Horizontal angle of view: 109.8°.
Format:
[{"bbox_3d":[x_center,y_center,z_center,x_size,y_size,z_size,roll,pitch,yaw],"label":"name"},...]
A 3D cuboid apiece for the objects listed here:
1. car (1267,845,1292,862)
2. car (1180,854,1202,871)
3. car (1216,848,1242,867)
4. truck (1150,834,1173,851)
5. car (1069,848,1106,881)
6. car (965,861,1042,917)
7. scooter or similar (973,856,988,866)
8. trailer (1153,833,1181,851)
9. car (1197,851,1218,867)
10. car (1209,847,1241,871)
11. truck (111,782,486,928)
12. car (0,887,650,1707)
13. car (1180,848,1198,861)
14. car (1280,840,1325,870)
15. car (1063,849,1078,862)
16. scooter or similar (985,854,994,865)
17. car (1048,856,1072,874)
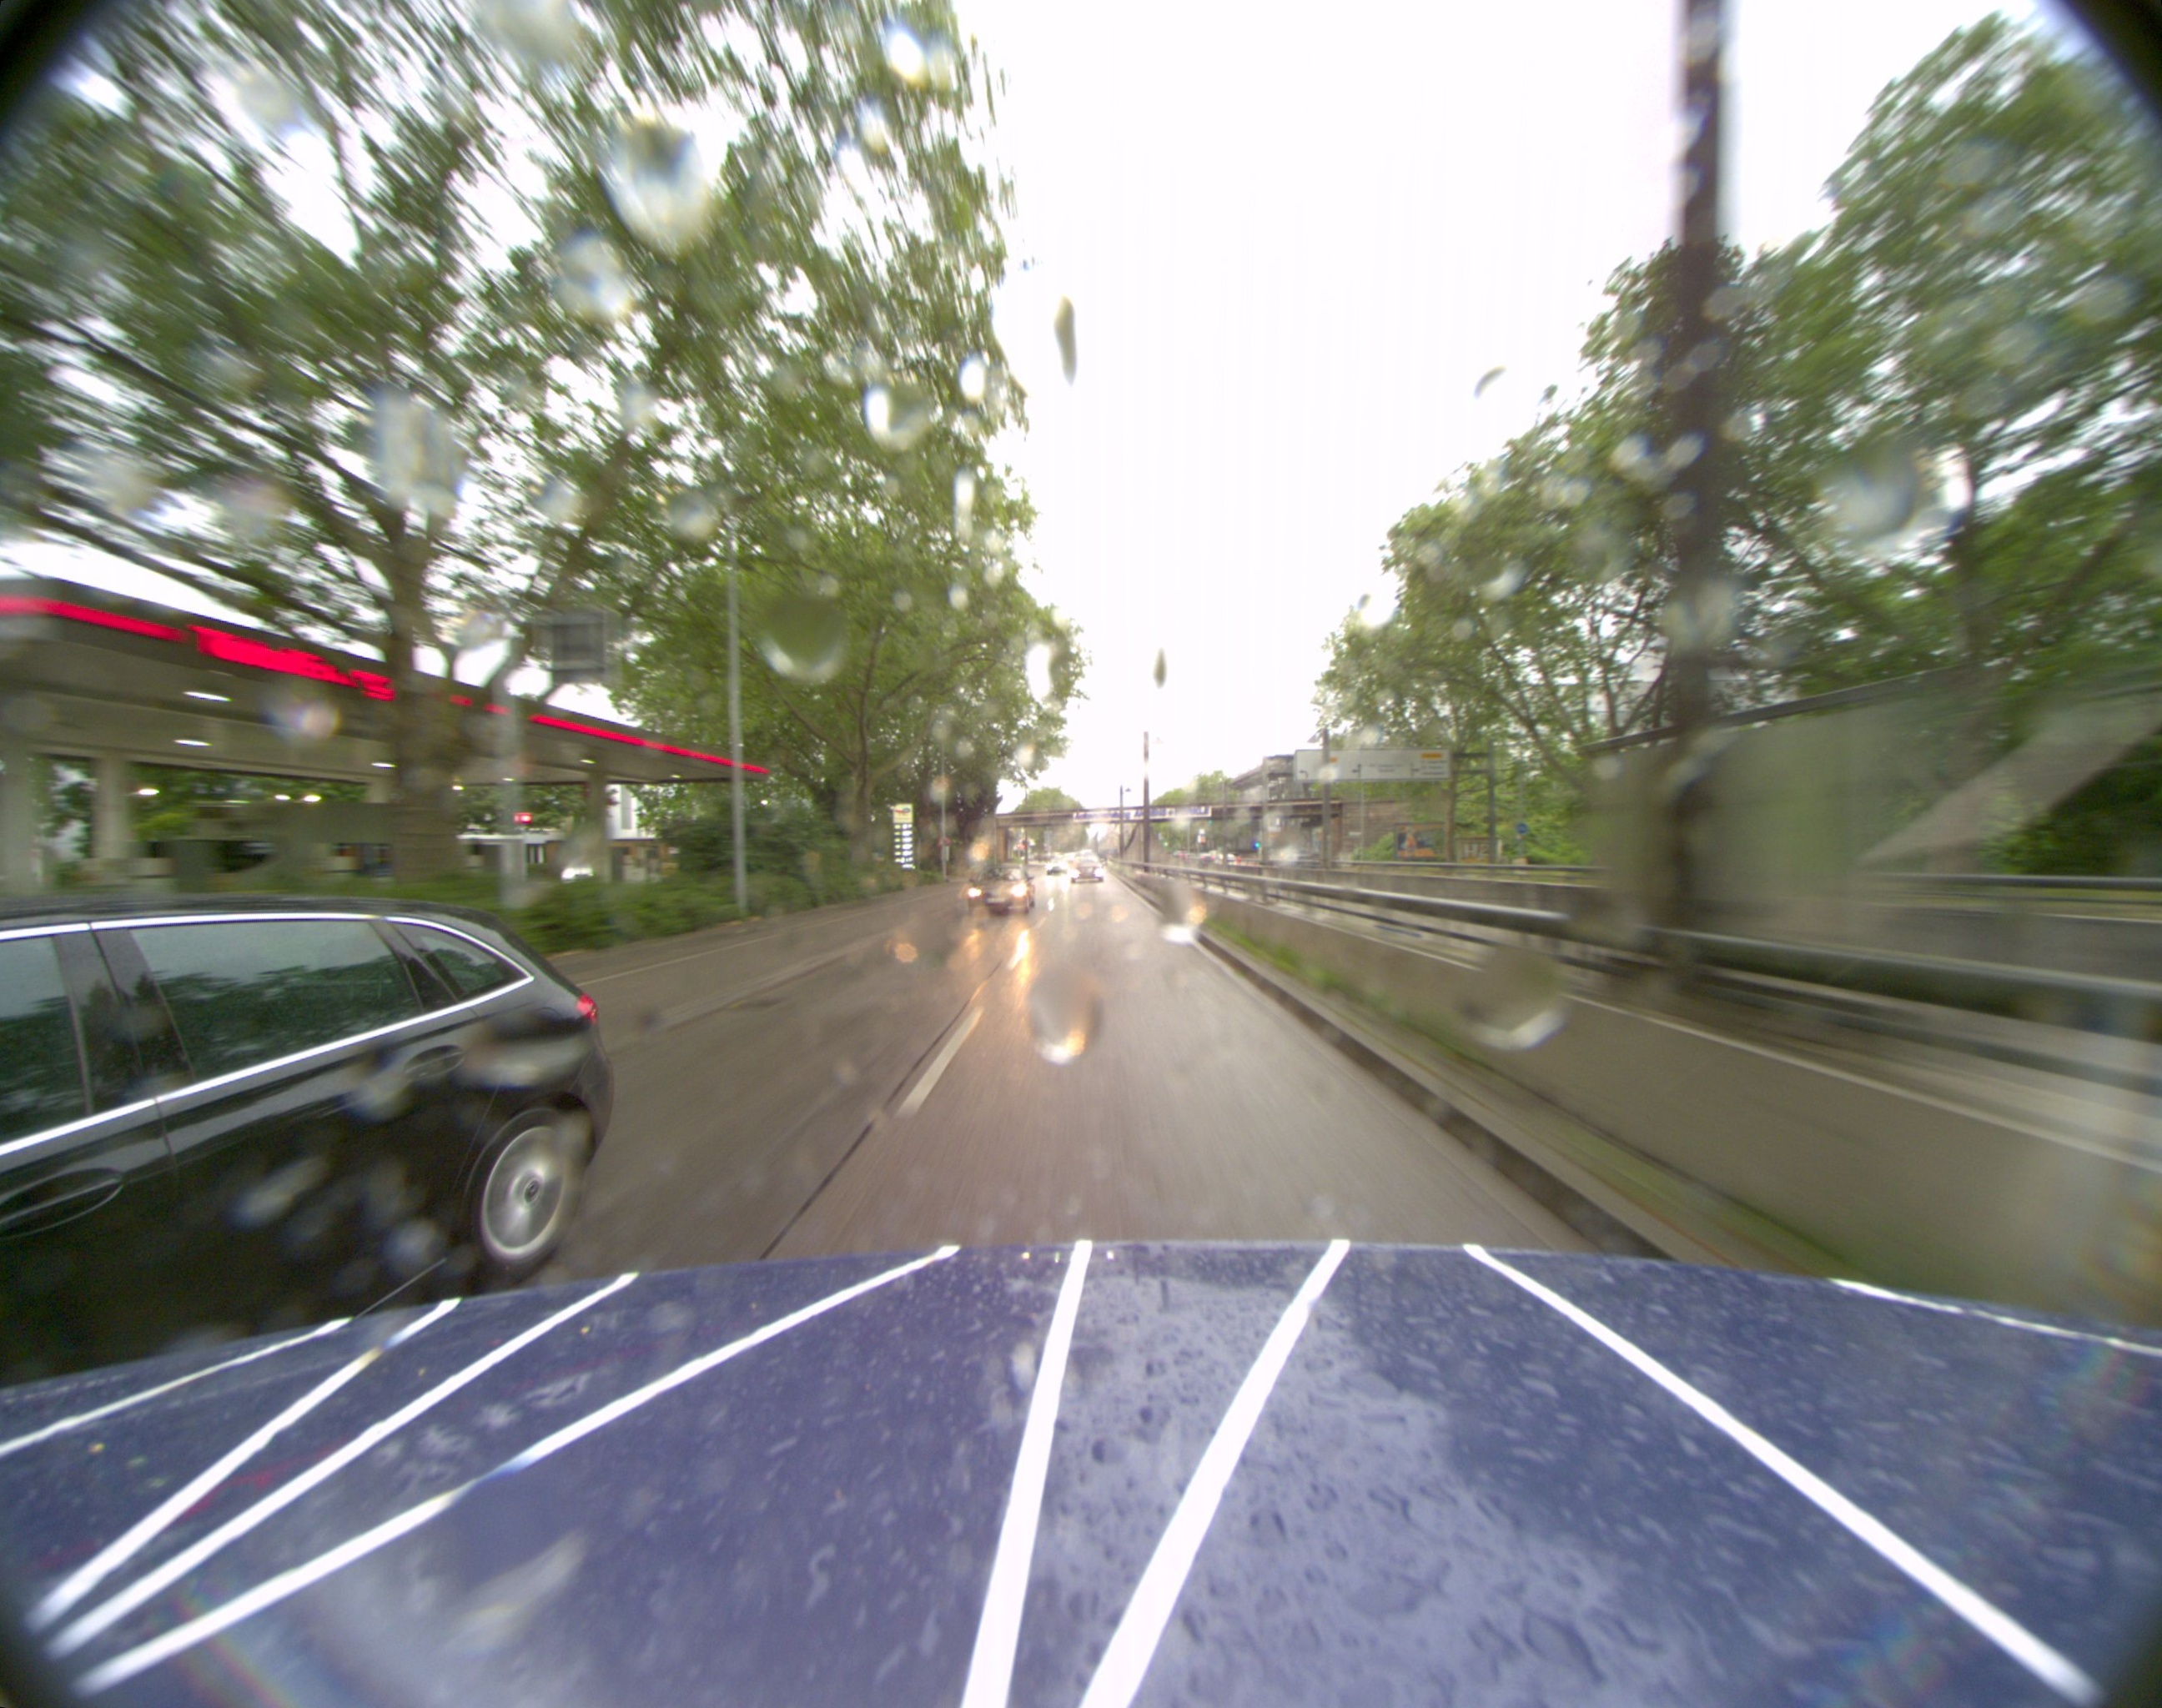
[{"bbox_3d":[24.031,-0.064,92.105,1.998,2.002,4.196,-3,1,0],"label":"car"},{"bbox_3d":[13.496,1.023,93.388,1.998,2.002,4.000,-3,1,0],"label":"car"},{"bbox_3d":[16.322,0.336,84.074,1.998,2.002,4.000,-3,1,0],"label":"car"},{"bbox_3d":[16.153,-2.236,153.700,3.384,3.290,6.521,-3,1,-4],"label":"truck"},{"bbox_3d":[0.442,0.615,45.507,1.974,1.794,4.159,-2,0,3],"label":"car"},{"bbox_3d":[-2.213,0.963,22.550,1.641,1.377,3.782,-2,1,3],"label":"car"},{"bbox_3d":[-10.929,0.734,82.391,0.452,1.004,1.742,-2,1,38],"label":"scooter or similar"},{"bbox_3d":[16.605,-2.209,147.403,3.331,3.241,11.117,-3,1,-4],"label":"trailer"},{"bbox_3d":[16.961,0.623,101.756,1.998,2.002,4.510,-3,1,0],"label":"car"},{"bbox_3d":[13.167,0.438,69.617,1.998,2.002,4.615,-3,1,0],"label":"car"},{"bbox_3d":[-21.638,-0.004,21.951,2.701,3.332,7.768,-3,1,-1],"label":"truck"},{"bbox_3d":[-2.973,1.000,1.407,1.821,1.521,4.420,-3,1,-1],"label":"car"},{"bbox_3d":[16.062,0.059,112.716,1.998,1.918,4.366,-3,1,0],"label":"car"},{"bbox_3d":[16.189,0.060,55.793,1.998,2.002,4.510,-3,1,0],"label":"car"},{"bbox_3d":[-1.363,0.163,101.878,1.869,1.689,4.425,-1,0,0],"label":"car"},{"bbox_3d":[-10.122,0.653,84.110,0.453,1.152,1.828,-3,1,8],"label":"scooter or similar"},{"bbox_3d":[-1.769,0.936,65.510,1.821,1.520,4.159,-1,0,1],"label":"car"}]
